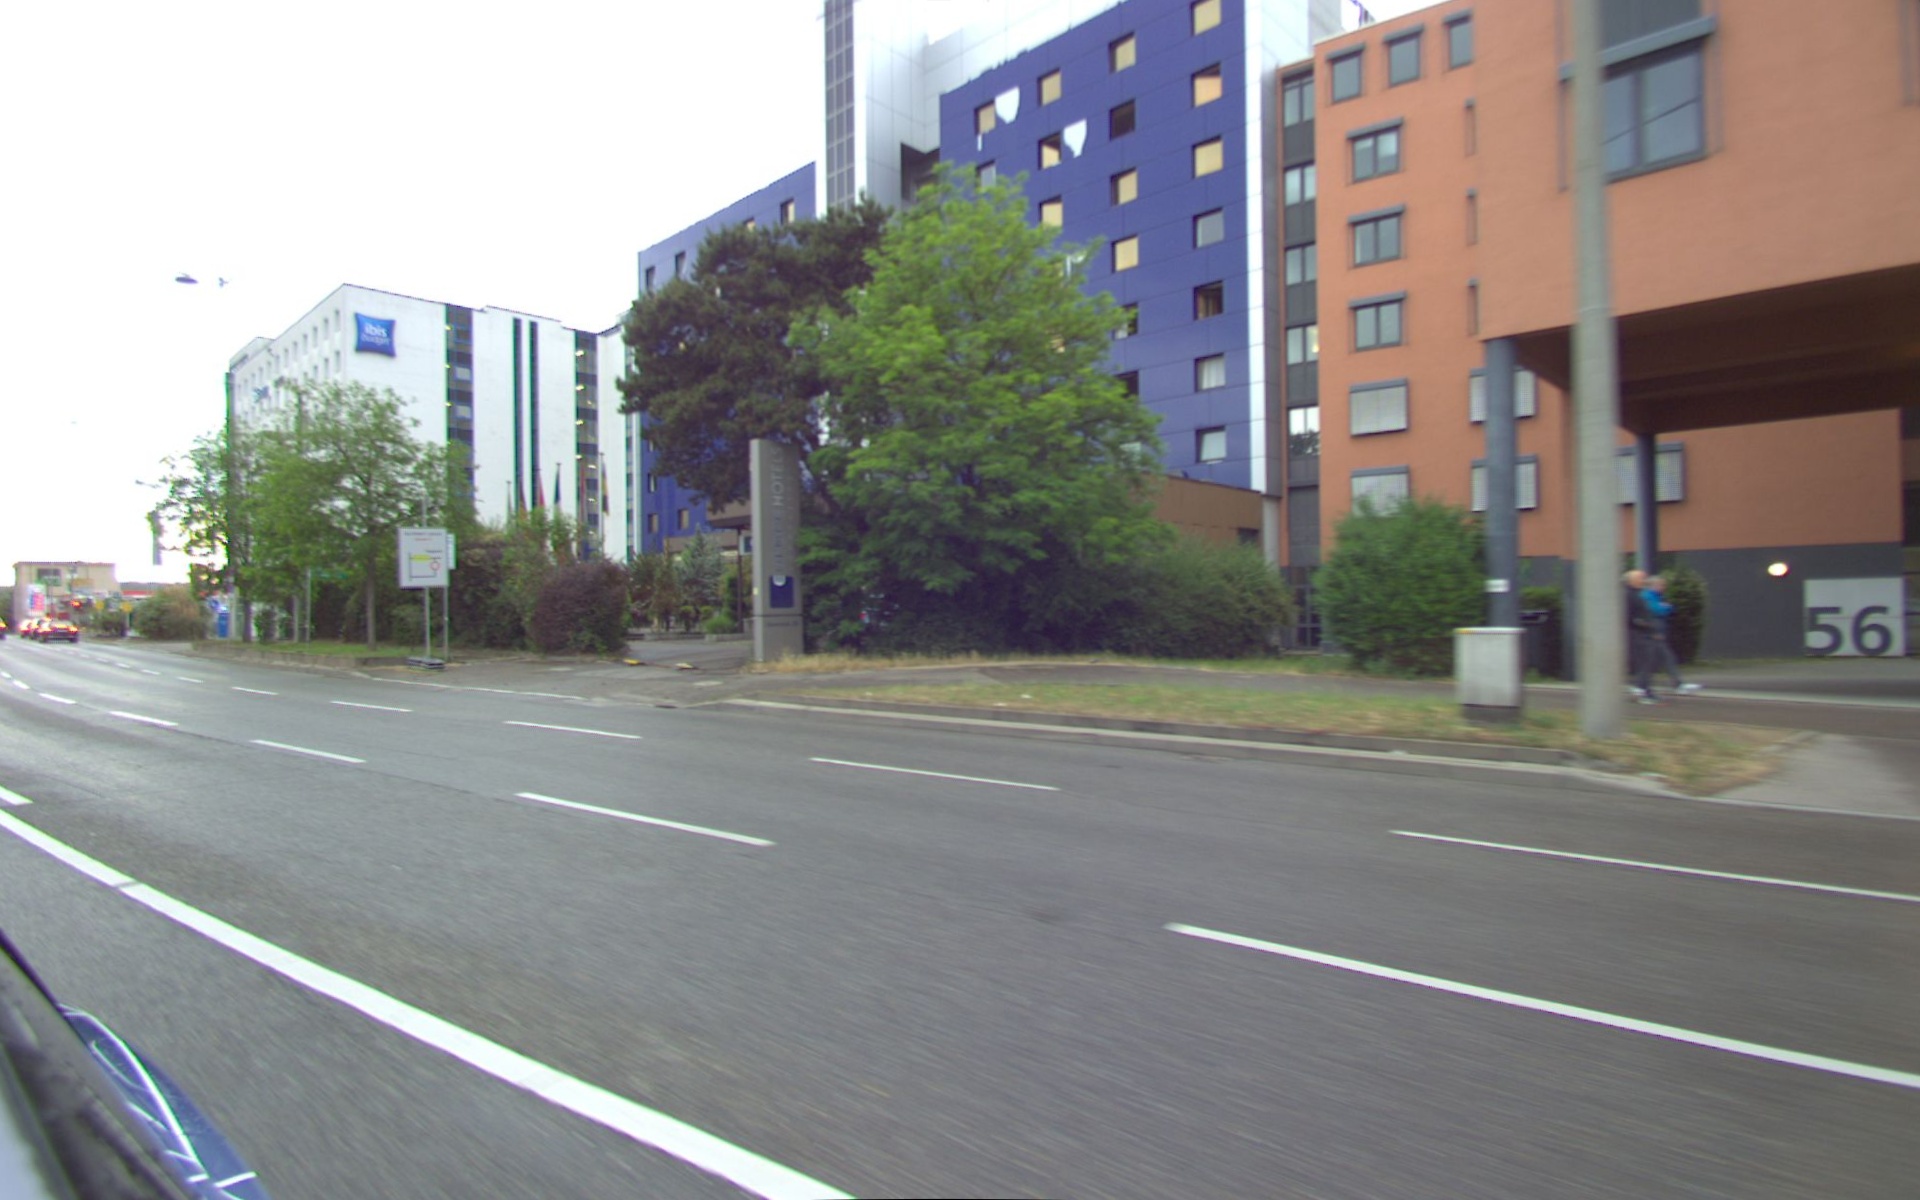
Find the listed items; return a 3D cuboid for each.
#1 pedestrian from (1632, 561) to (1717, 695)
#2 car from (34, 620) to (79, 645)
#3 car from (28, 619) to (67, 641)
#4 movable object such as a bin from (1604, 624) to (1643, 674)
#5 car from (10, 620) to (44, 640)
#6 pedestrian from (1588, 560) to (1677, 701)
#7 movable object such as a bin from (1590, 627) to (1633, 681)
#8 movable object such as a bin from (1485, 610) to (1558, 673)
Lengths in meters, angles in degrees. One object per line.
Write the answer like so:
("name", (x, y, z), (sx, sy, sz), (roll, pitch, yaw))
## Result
("pedestrian", (10.308, 0.386, 14.603), (0.886, 1.855, 0.737), (-1, 0, 43))
("car", (-60.001, 2.144, 67.161), (3.998, 1.580, 1.744), (-1, -3, 42))
("car", (-69.081, 2.285, 76.588), (3.999, 1.580, 1.743), (-1, -3, 42))
("movable object such as a bin", (17.013, 1.244, 25.950), (0.673, 1.212, 1.193), (-1, -1, 41))
("car", (-77.611, 2.483, 84.171), (3.999, 1.580, 1.743), (-1, -3, 42))
("pedestrian", (9.267, 0.400, 13.946), (0.886, 1.855, 0.737), (-1, 0, 43))
("movable object such as a bin", (15.515, 1.265, 24.097), (0.673, 1.212, 1.193), (-1, -1, 41))
("movable object such as a bin", (11.733, 0.845, 21.147), (1.209, 1.257, 0.772), (-1, -1, 40))
